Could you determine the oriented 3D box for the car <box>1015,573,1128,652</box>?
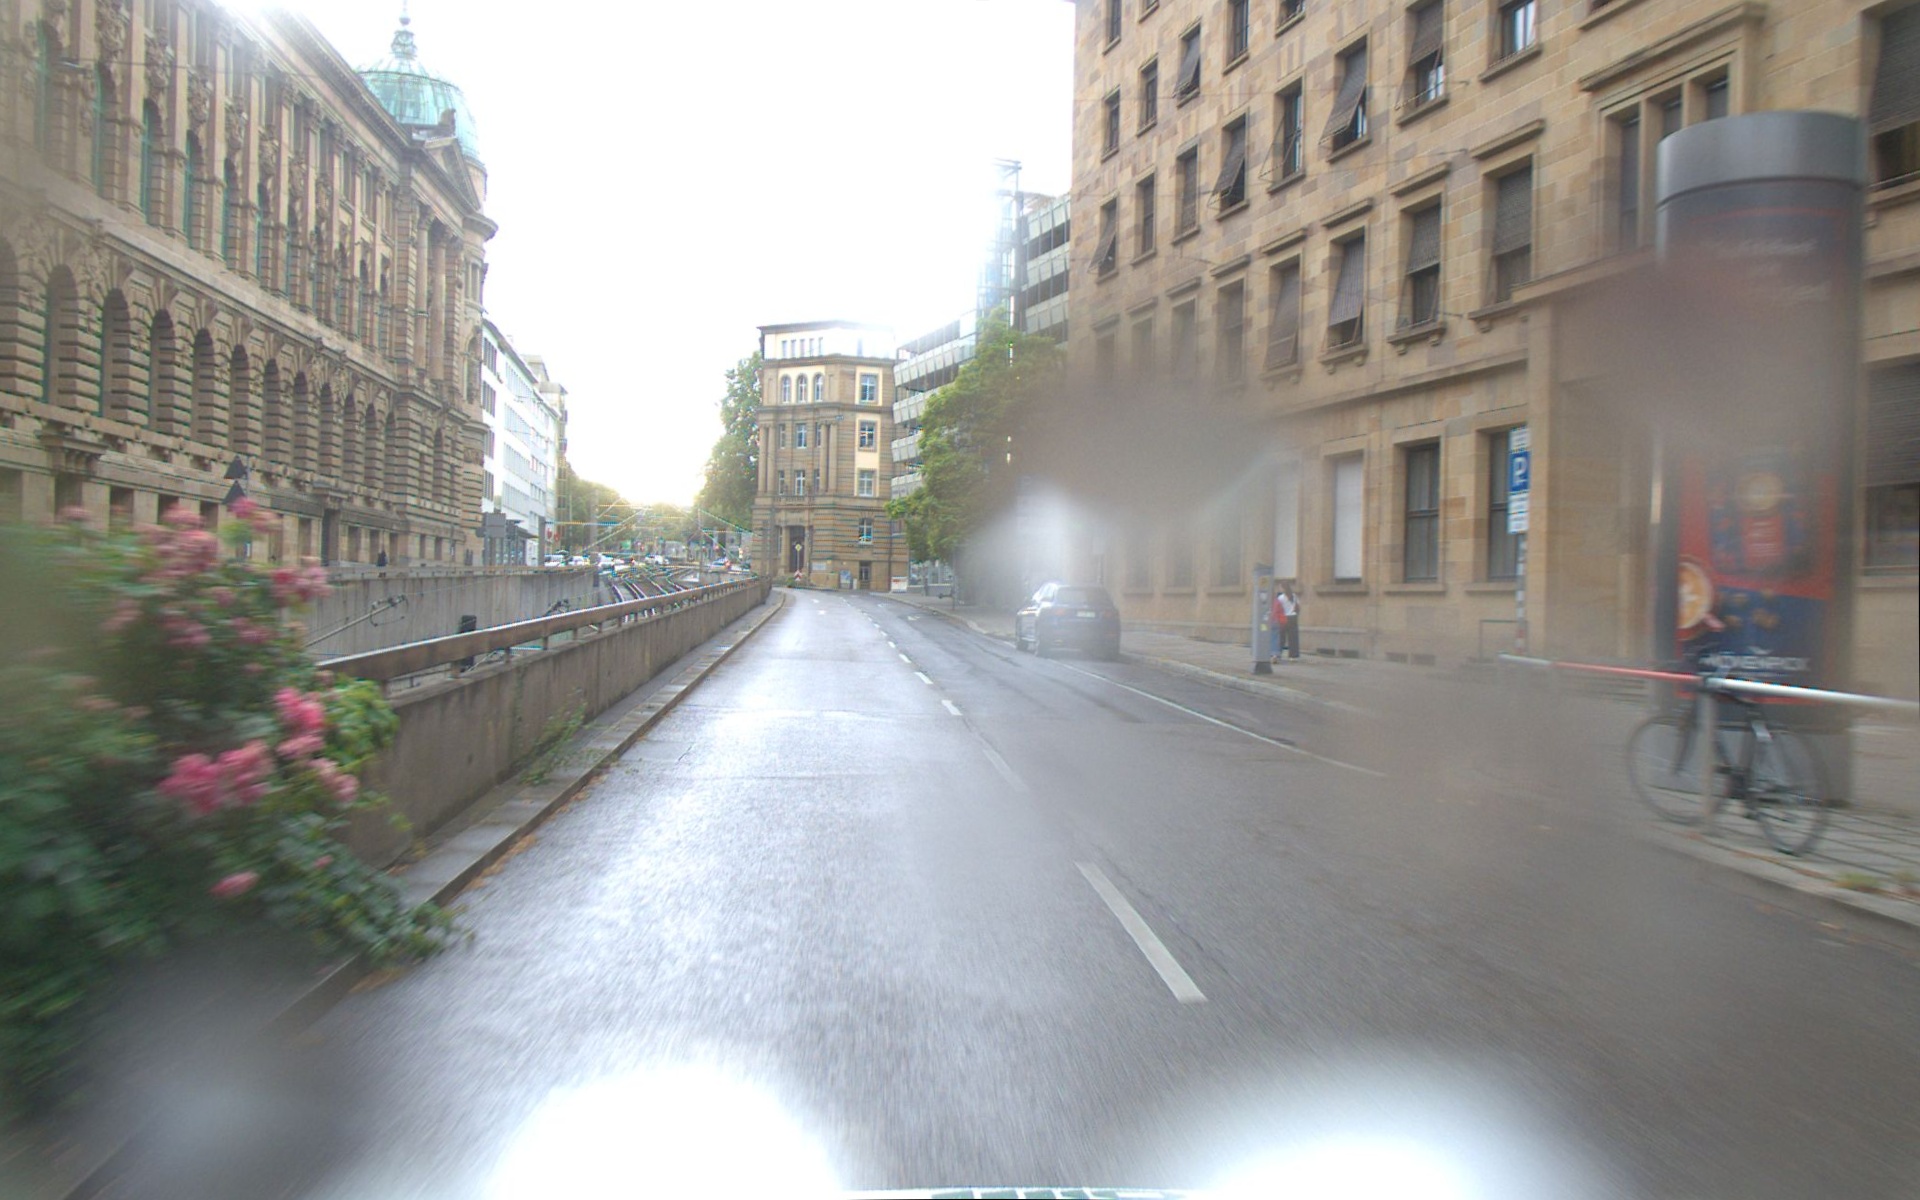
[{"bbox_3d":[2.466,0.261,37.526,1.735,1.647,4.151,2,0,-7],"label":"car"}]

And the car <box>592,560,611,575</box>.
[{"bbox_3d":[-39.510,-3.544,182.337,1.958,1.554,3.654,2,1,-11],"label":"car"}]

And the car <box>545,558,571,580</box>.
[{"bbox_3d":[-36.937,-2.840,151.977,1.958,1.915,4.915,2,1,-11],"label":"car"}]

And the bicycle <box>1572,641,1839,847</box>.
[{"bbox_3d":[4.352,0.799,9.819,0.480,1.030,1.925,1,0,-8],"label":"bicycle"}]

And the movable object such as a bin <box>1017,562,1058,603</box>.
[{"bbox_3d":[2.565,-0.588,54.959,1.215,1.333,1.233,-1,1,-5],"label":"movable object such as a bin"}]

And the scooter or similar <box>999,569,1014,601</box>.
[{"bbox_3d":[1.865,-0.618,66.354,0.438,1.281,1.210,0,1,-5],"label":"scooter or similar"}]

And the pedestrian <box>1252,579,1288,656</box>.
[{"bbox_3d":[6.251,0.344,33.350,0.514,1.518,0.673,1,0,-5],"label":"pedestrian"}]

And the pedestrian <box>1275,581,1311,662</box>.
[{"bbox_3d":[6.783,0.428,33.679,0.514,1.630,0.673,1,0,-5],"label":"pedestrian"}]
